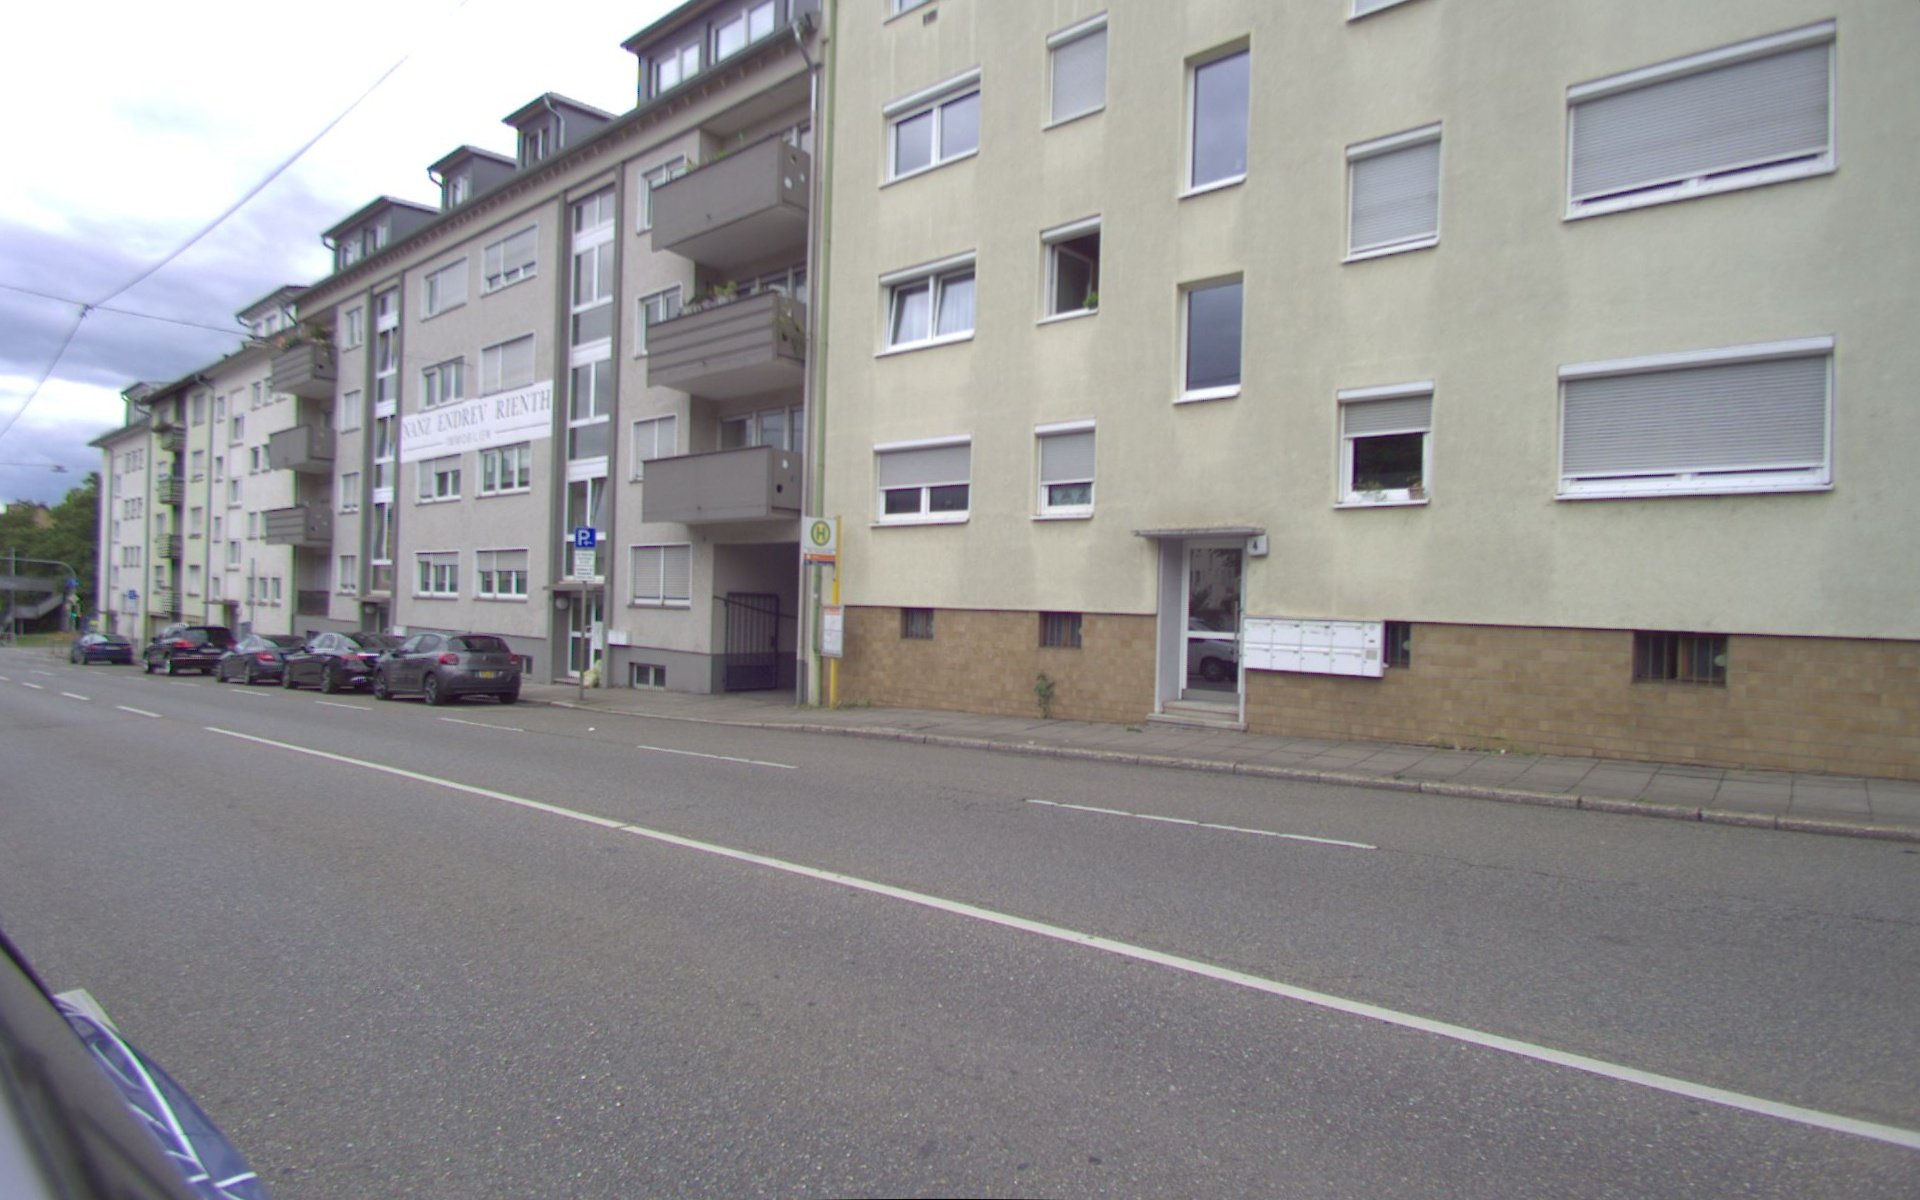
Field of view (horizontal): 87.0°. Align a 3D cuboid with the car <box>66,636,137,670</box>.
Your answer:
[{"bbox_3d":[-38.614,2.386,45.498,4.307,1.391,1.850,-1,-5,43],"label":"car"}]

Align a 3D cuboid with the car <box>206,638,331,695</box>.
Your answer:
[{"bbox_3d":[-19.341,1.822,28.232,4.304,1.416,1.750,-1,-4,40],"label":"car"}]

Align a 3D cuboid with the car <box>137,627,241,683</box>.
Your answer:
[{"bbox_3d":[-26.180,1.832,34.305,4.304,1.767,1.851,-1,-4,40],"label":"car"}]

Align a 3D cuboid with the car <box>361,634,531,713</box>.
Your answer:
[{"bbox_3d":[-10.722,1.483,21.023,3.799,1.447,1.750,-1,-4,40],"label":"car"}]

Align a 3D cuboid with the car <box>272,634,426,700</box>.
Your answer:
[{"bbox_3d":[-14.951,1.591,24.670,4.715,1.416,1.750,-1,-4,40],"label":"car"}]
